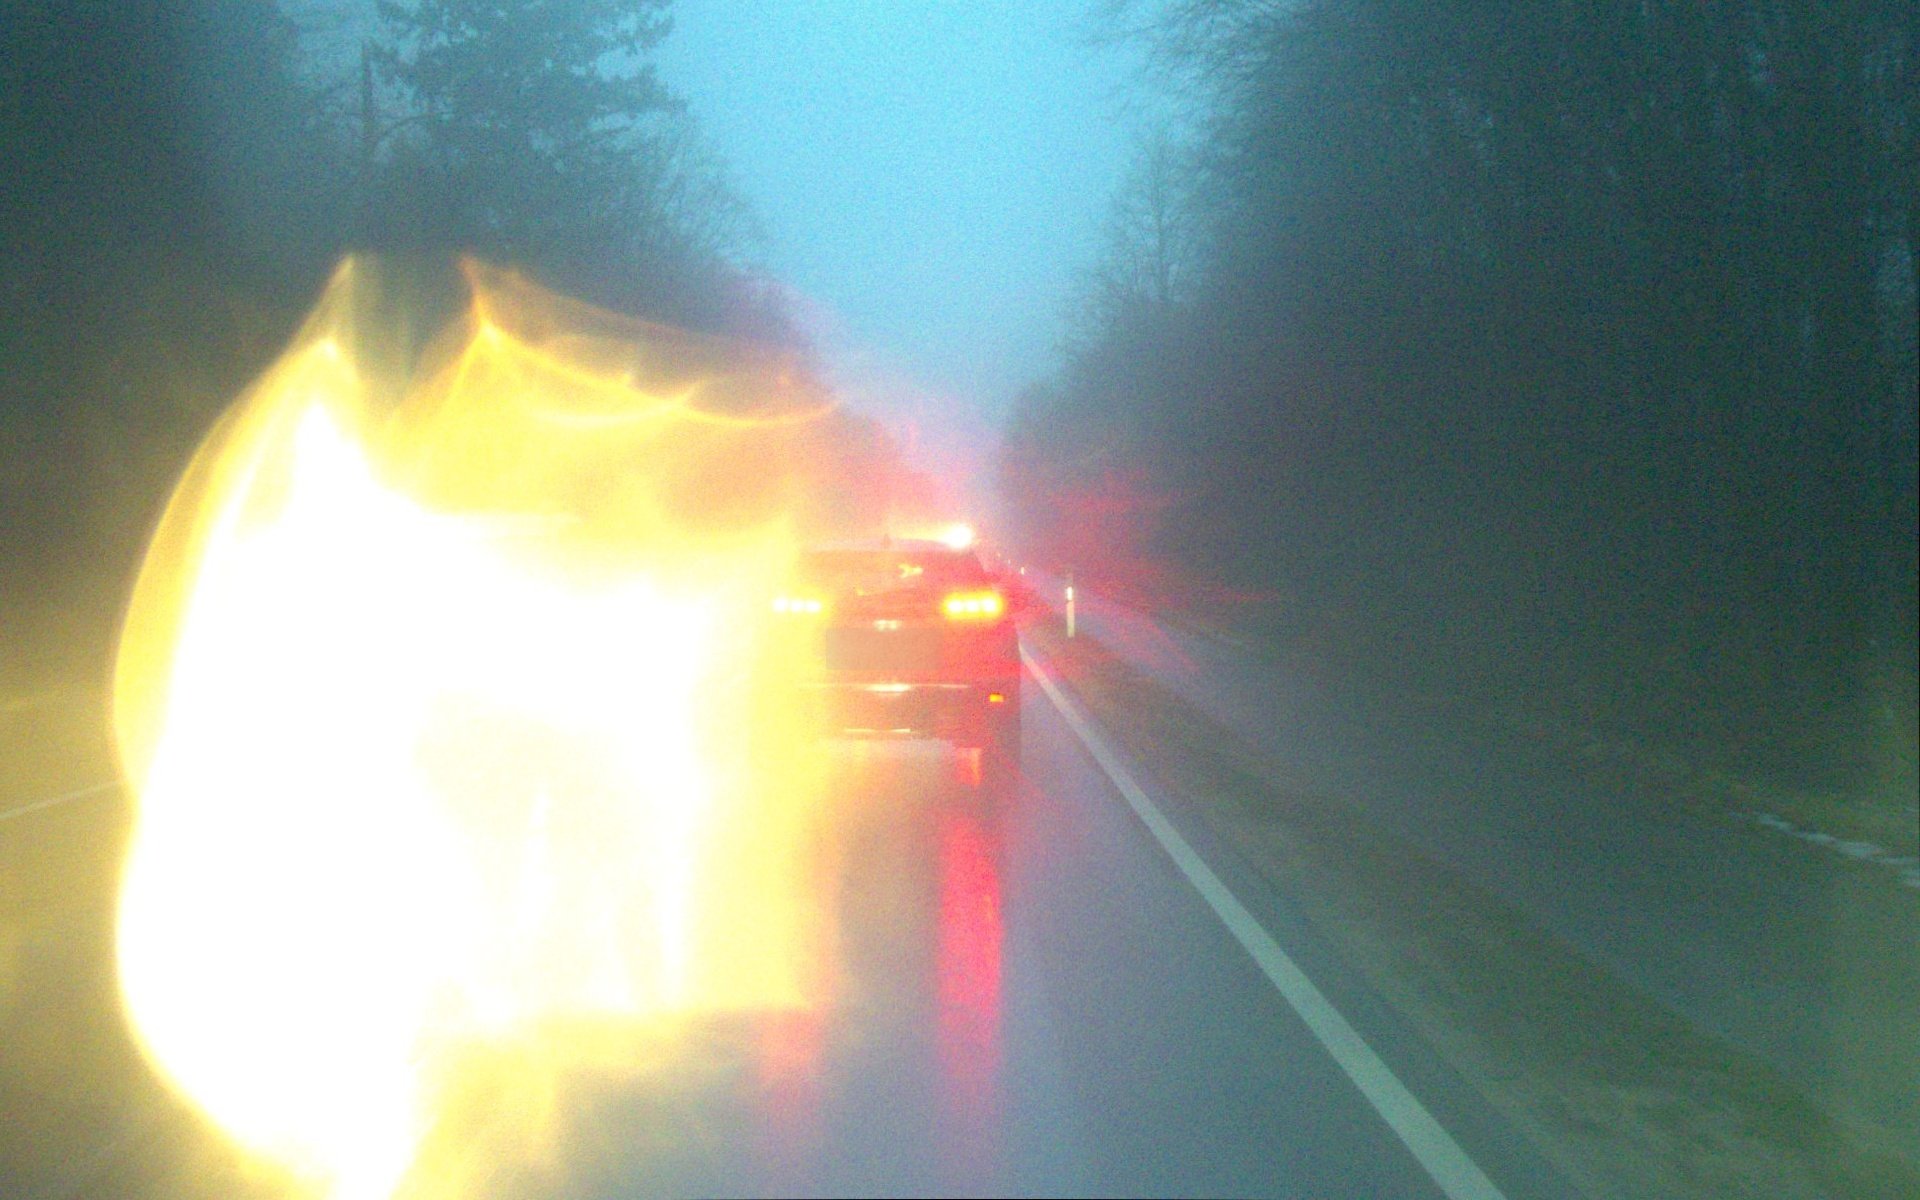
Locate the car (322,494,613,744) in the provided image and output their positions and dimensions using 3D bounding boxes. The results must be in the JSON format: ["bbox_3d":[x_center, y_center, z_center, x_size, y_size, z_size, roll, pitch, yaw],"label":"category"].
[{"bbox_3d":[-4.031,0.112,28.790,1.797,1.875,4.426,-2,1,-1],"label":"car"}]

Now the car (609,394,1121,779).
[{"bbox_3d":[-0.599,-0.141,24.828,3.183,2.378,6.636,1,1,0],"label":"car"}]
